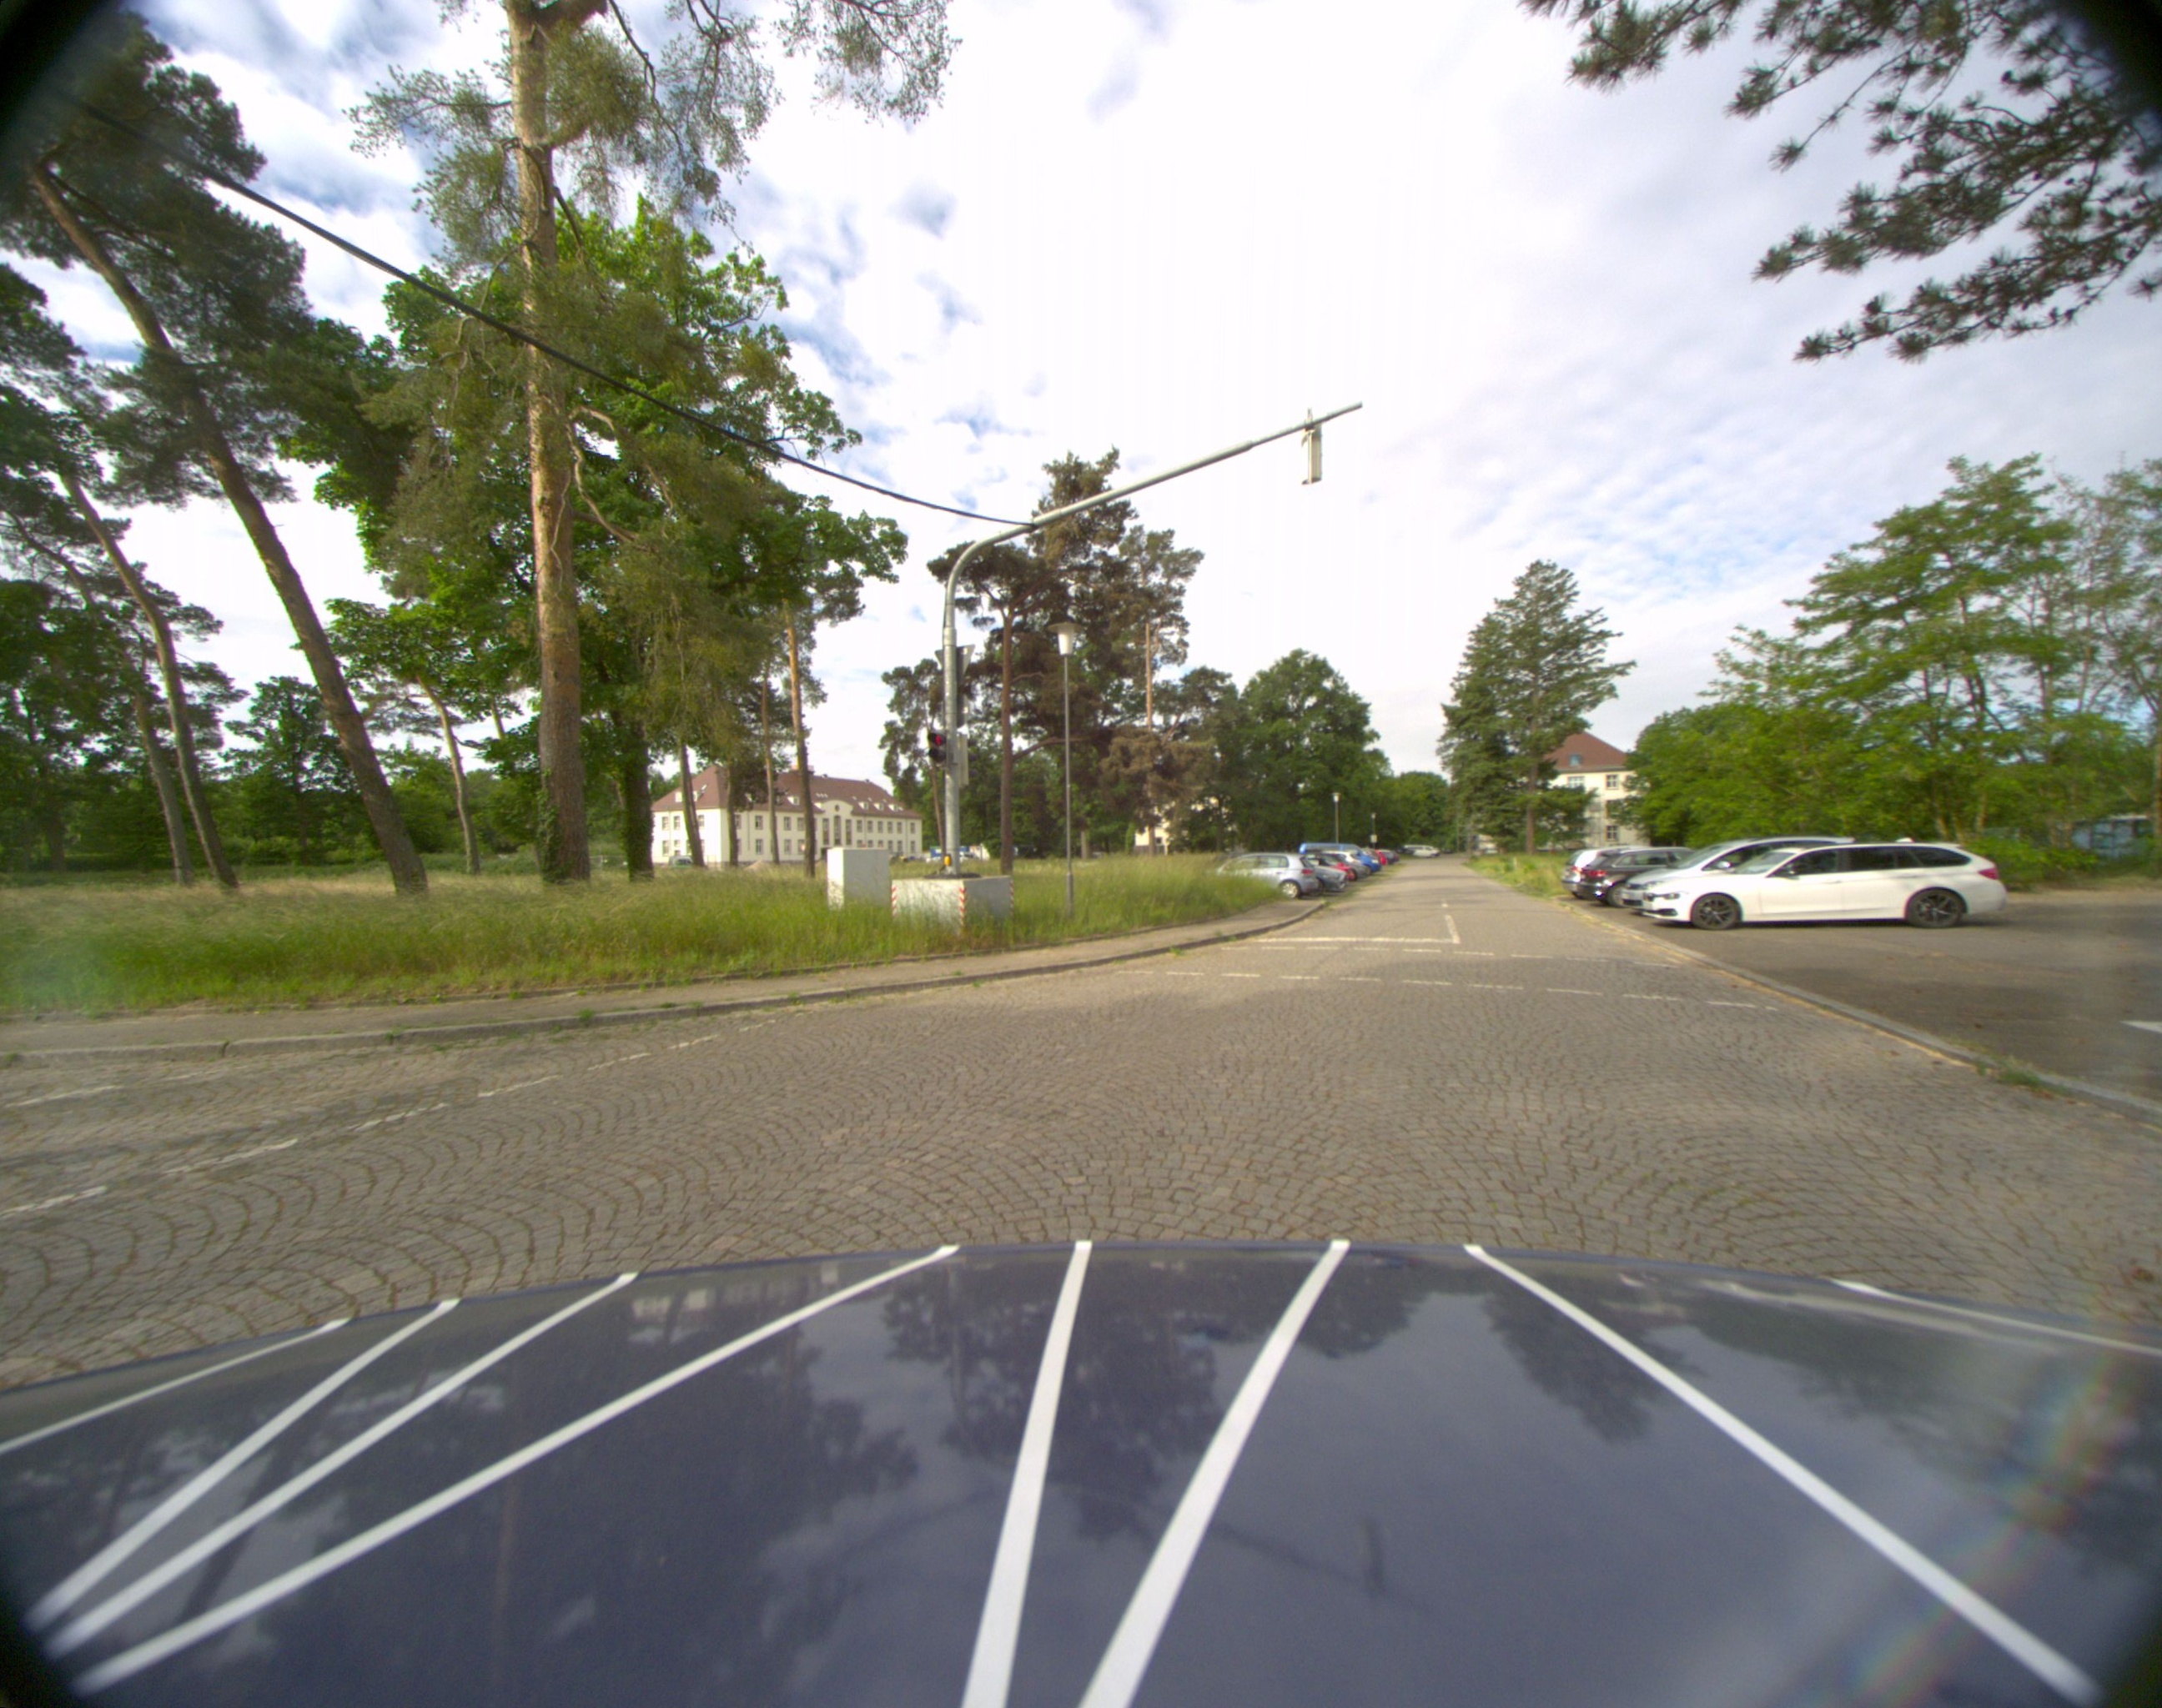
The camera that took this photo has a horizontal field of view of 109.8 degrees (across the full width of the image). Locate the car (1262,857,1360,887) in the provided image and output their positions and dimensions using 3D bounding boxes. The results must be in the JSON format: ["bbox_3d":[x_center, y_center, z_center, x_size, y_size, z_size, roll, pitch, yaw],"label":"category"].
[{"bbox_3d":[10.190,0.762,33.688,3.926,1.227,1.800,0,1,26],"label":"car"}]

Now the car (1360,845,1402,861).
[{"bbox_3d":[30.340,-0.086,76.855,3.784,1.615,2.003,0,1,27],"label":"car"}]

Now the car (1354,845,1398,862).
[{"bbox_3d":[28.268,-0.012,72.870,3.784,1.560,2.003,0,1,27],"label":"car"}]

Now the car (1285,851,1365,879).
[{"bbox_3d":[13.301,0.566,41.440,3.926,1.441,1.800,0,1,25],"label":"car"}]

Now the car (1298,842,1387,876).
[{"bbox_3d":[15.812,0.296,46.032,4.831,2.002,2.004,0,1,29],"label":"car"}]

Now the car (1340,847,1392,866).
[{"bbox_3d":[23.866,0.207,63.529,3.990,1.560,2.003,0,1,22],"label":"car"}]

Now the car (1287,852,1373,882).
[{"bbox_3d":[12.573,0.647,38.391,3.926,1.427,1.800,0,1,25],"label":"car"}]

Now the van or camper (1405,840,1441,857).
[{"bbox_3d":[53.964,-0.871,120.026,5.239,2.449,2.212,-1,1,23],"label":"van or camper"}]

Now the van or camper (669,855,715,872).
[{"bbox_3d":[-55.255,1.304,107.931,6.113,2.293,2.469,0,1,23],"label":"van or camper"}]

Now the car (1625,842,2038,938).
[{"bbox_3d":[12.845,0.642,13.501,4.811,1.431,1.916,-3,0,23],"label":"car"}]

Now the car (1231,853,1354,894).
[{"bbox_3d":[8.143,0.718,29.289,4.259,1.437,1.800,0,1,28],"label":"car"}]

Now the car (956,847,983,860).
[{"bbox_3d":[-18.201,-0.152,124.317,2.162,2.002,4.842,0,1,23],"label":"car"}]

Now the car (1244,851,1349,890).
[{"bbox_3d":[8.923,0.669,31.488,3.925,1.504,1.800,0,1,28],"label":"car"}]

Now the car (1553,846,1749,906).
[{"bbox_3d":[15.578,0.596,21.032,3.978,1.447,1.683,-3,0,21],"label":"car"}]

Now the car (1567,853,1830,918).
[{"bbox_3d":[14.724,0.700,18.487,4.624,1.414,1.888,0,1,22],"label":"car"}]

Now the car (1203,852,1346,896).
[{"bbox_3d":[6.824,0.673,26.894,4.622,1.437,1.800,0,1,25],"label":"car"}]

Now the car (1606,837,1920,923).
[{"bbox_3d":[13.871,0.546,15.845,4.478,1.580,1.850,-2,0,21],"label":"car"}]

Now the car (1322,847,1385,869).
[{"bbox_3d":[19.446,0.289,54.212,3.989,1.496,1.872,0,1,27],"label":"car"}]

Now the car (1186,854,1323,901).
[{"bbox_3d":[5.585,0.722,24.501,3.990,1.410,1.800,0,1,26],"label":"car"}]

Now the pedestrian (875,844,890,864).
[{"bbox_3d":[-21.923,-0.030,84.093,1.182,2.165,1.057,0,1,25],"label":"pedestrian"}]

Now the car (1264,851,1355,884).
[{"bbox_3d":[10.899,0.624,36.236,3.926,1.467,1.800,0,1,26],"label":"car"}]
